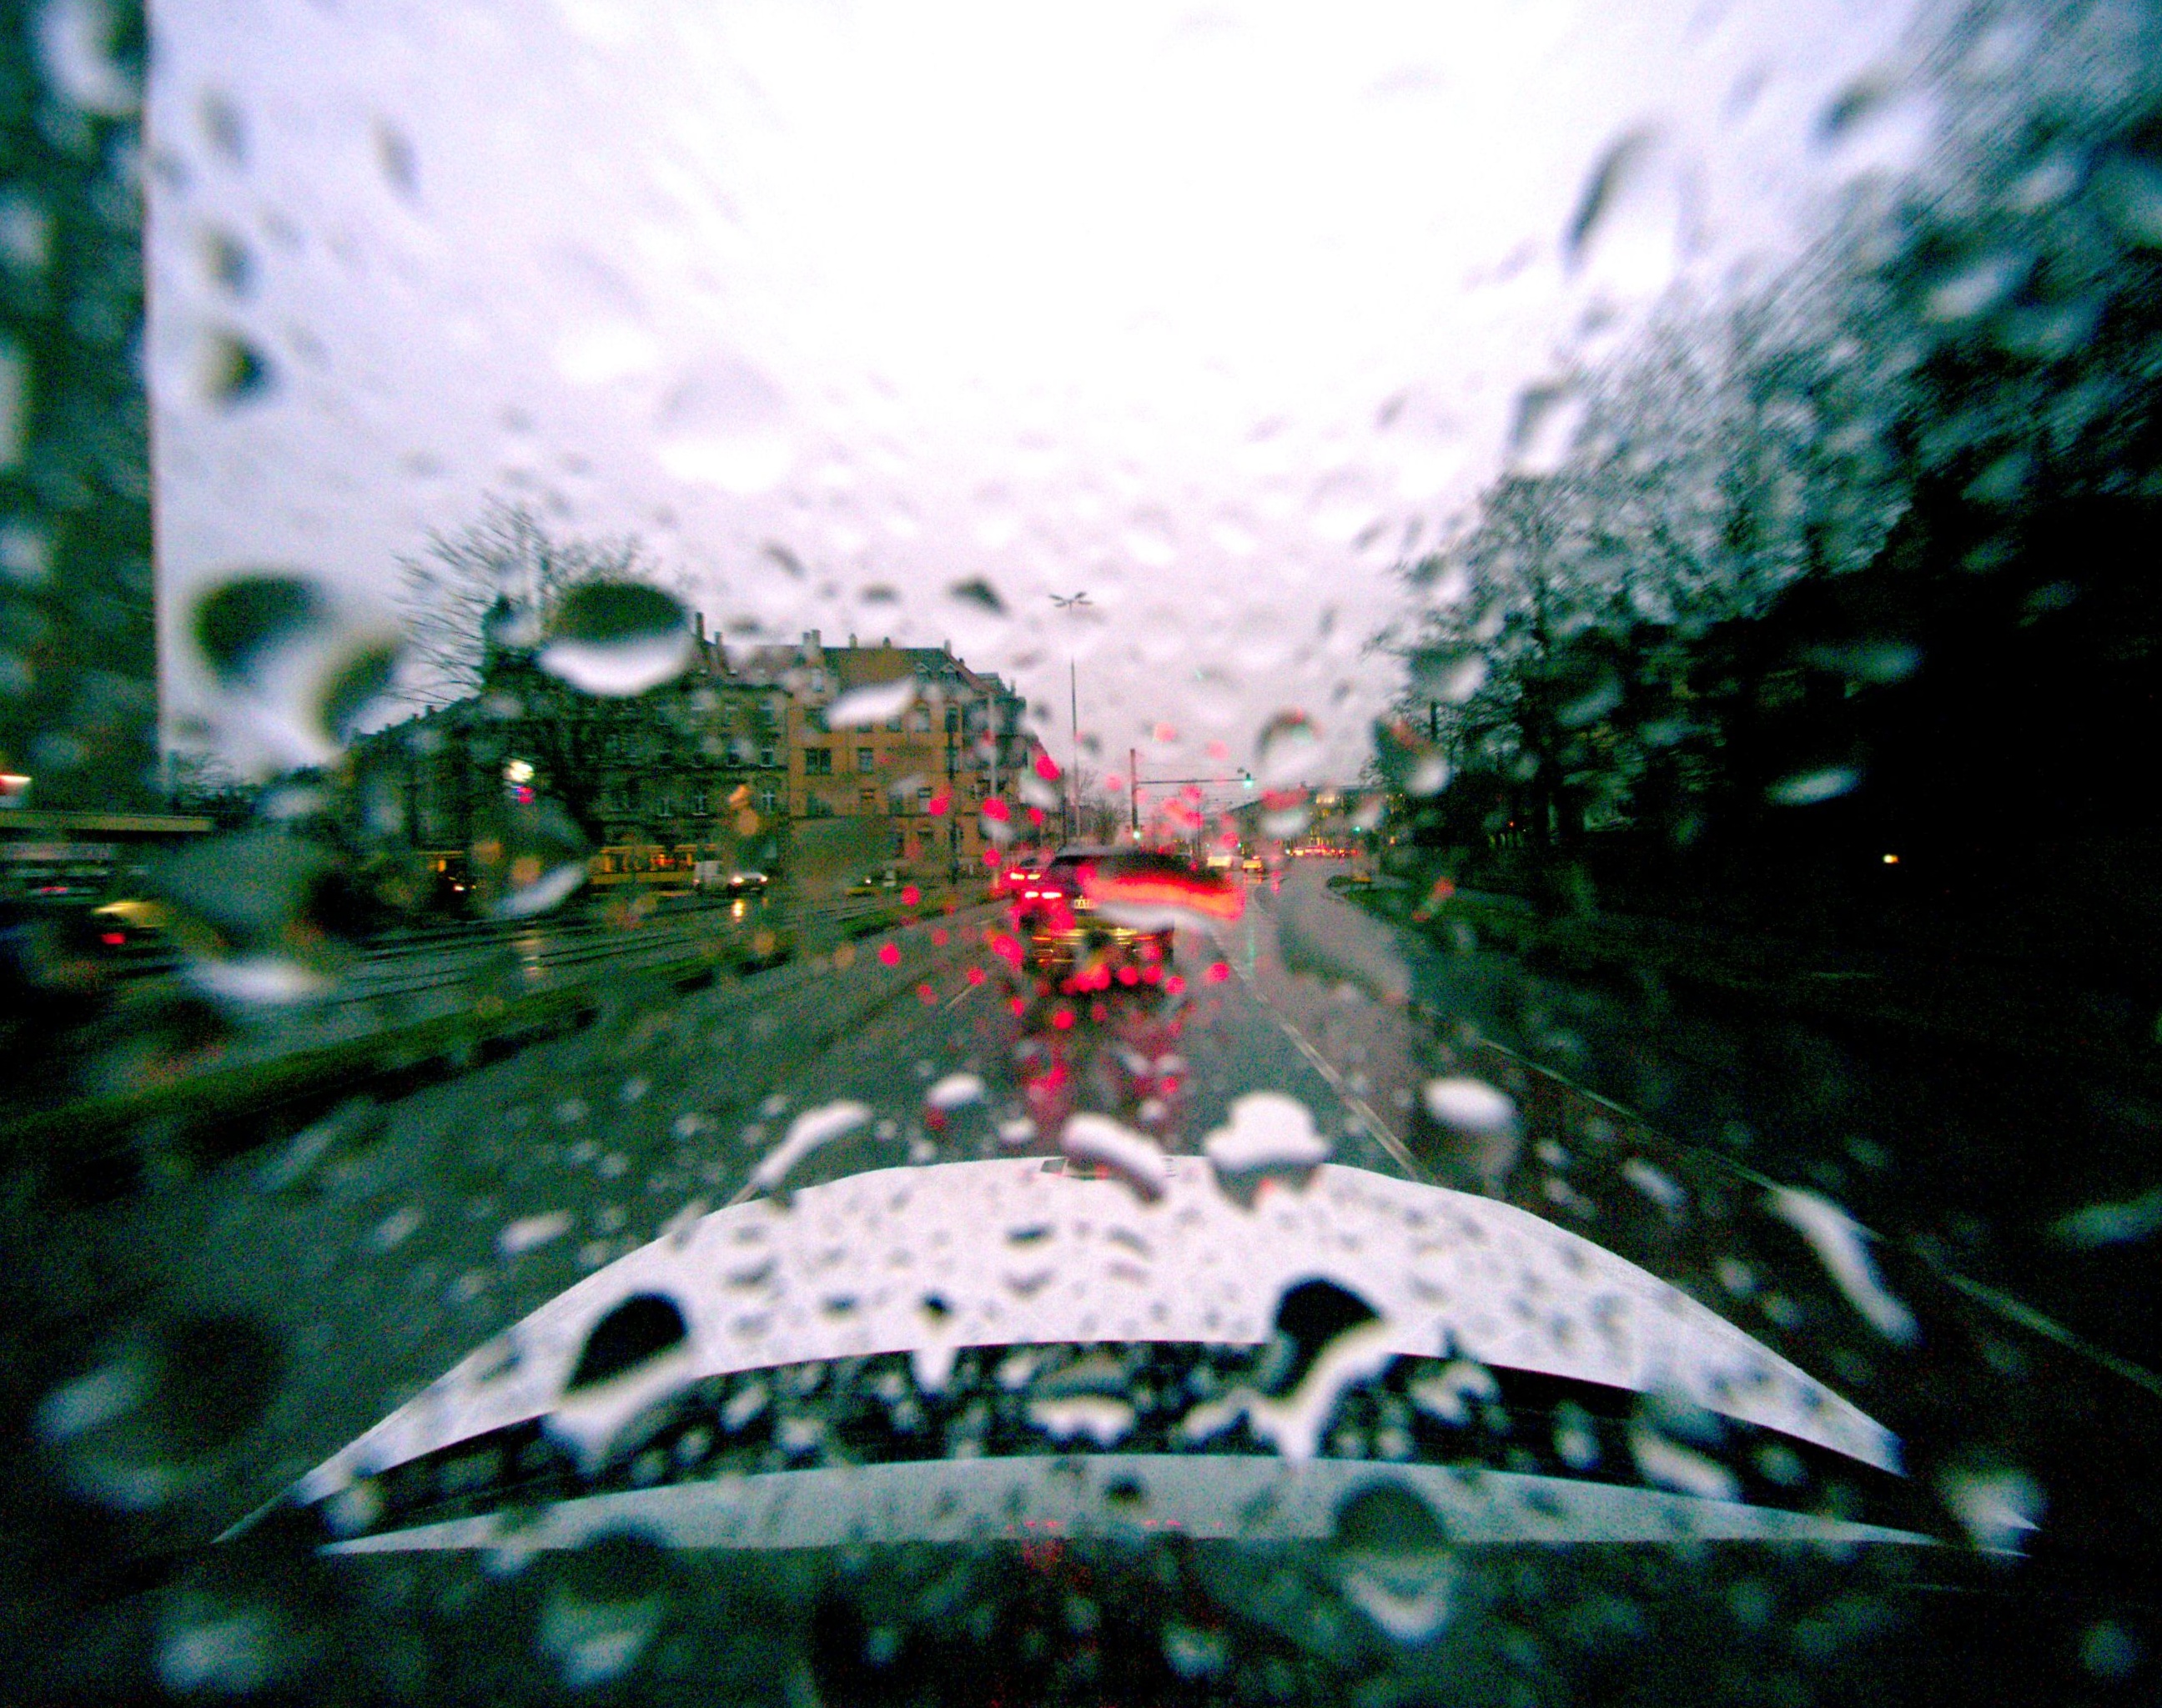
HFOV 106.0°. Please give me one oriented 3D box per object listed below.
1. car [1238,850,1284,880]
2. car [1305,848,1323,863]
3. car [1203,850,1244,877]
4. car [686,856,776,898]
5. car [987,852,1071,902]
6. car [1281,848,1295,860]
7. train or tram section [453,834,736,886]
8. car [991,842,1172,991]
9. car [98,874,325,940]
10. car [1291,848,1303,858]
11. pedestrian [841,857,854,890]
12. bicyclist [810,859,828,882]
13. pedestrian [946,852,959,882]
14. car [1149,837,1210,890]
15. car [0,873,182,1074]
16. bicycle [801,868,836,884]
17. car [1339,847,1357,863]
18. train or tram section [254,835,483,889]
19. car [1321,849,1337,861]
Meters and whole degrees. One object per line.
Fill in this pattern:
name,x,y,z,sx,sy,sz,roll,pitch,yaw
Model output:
car,11.776,0.719,53.072,1.975,1.765,4.024,-2,0,26
car,26.771,0.135,93.503,1.731,1.611,4.019,-2,0,18
car,10.129,0.627,57.578,1.976,1.765,4.022,-2,0,22
car,-19.192,1.277,44.578,4.791,1.946,2.013,-4,0,31
car,-1.601,0.690,26.536,1.983,1.398,4.008,-2,0,7
car,28.609,0.012,112.614,1.732,1.459,3.540,-2,0,15
train or tram section,-32.132,0.334,54.577,16.246,3.188,3.160,-1,0,-9
car,0.081,0.694,11.190,1.983,1.616,4.002,-2,0,2
car,-23.593,1.405,22.237,3.981,1.530,1.776,-2,0,-6
car,31.739,-0.092,119.697,1.581,1.385,3.540,-2,0,15
pedestrian,-12.925,1.050,45.067,0.626,1.792,0.530,-1,0,-12
bicyclist,-16.250,1.022,50.427,0.971,1.390,0.502,-1,0,-27
pedestrian,-7.753,0.796,49.225,0.463,1.772,0.632,-1,0,22
car,3.697,0.314,29.865,1.981,1.765,4.011,-2,0,9
car,-9.967,1.071,5.781,1.637,1.630,4.668,-2,1,6
bicycle,-16.248,1.379,50.427,1.989,0.900,0.502,-1,1,-27
car,28.557,0.095,87.236,1.731,1.611,4.019,-2,0,18
train or tram section,-45.623,0.479,52.536,11.108,3.237,3.160,-1,0,-8
car,31.577,0.094,103.645,1.732,1.459,3.540,-2,0,15
